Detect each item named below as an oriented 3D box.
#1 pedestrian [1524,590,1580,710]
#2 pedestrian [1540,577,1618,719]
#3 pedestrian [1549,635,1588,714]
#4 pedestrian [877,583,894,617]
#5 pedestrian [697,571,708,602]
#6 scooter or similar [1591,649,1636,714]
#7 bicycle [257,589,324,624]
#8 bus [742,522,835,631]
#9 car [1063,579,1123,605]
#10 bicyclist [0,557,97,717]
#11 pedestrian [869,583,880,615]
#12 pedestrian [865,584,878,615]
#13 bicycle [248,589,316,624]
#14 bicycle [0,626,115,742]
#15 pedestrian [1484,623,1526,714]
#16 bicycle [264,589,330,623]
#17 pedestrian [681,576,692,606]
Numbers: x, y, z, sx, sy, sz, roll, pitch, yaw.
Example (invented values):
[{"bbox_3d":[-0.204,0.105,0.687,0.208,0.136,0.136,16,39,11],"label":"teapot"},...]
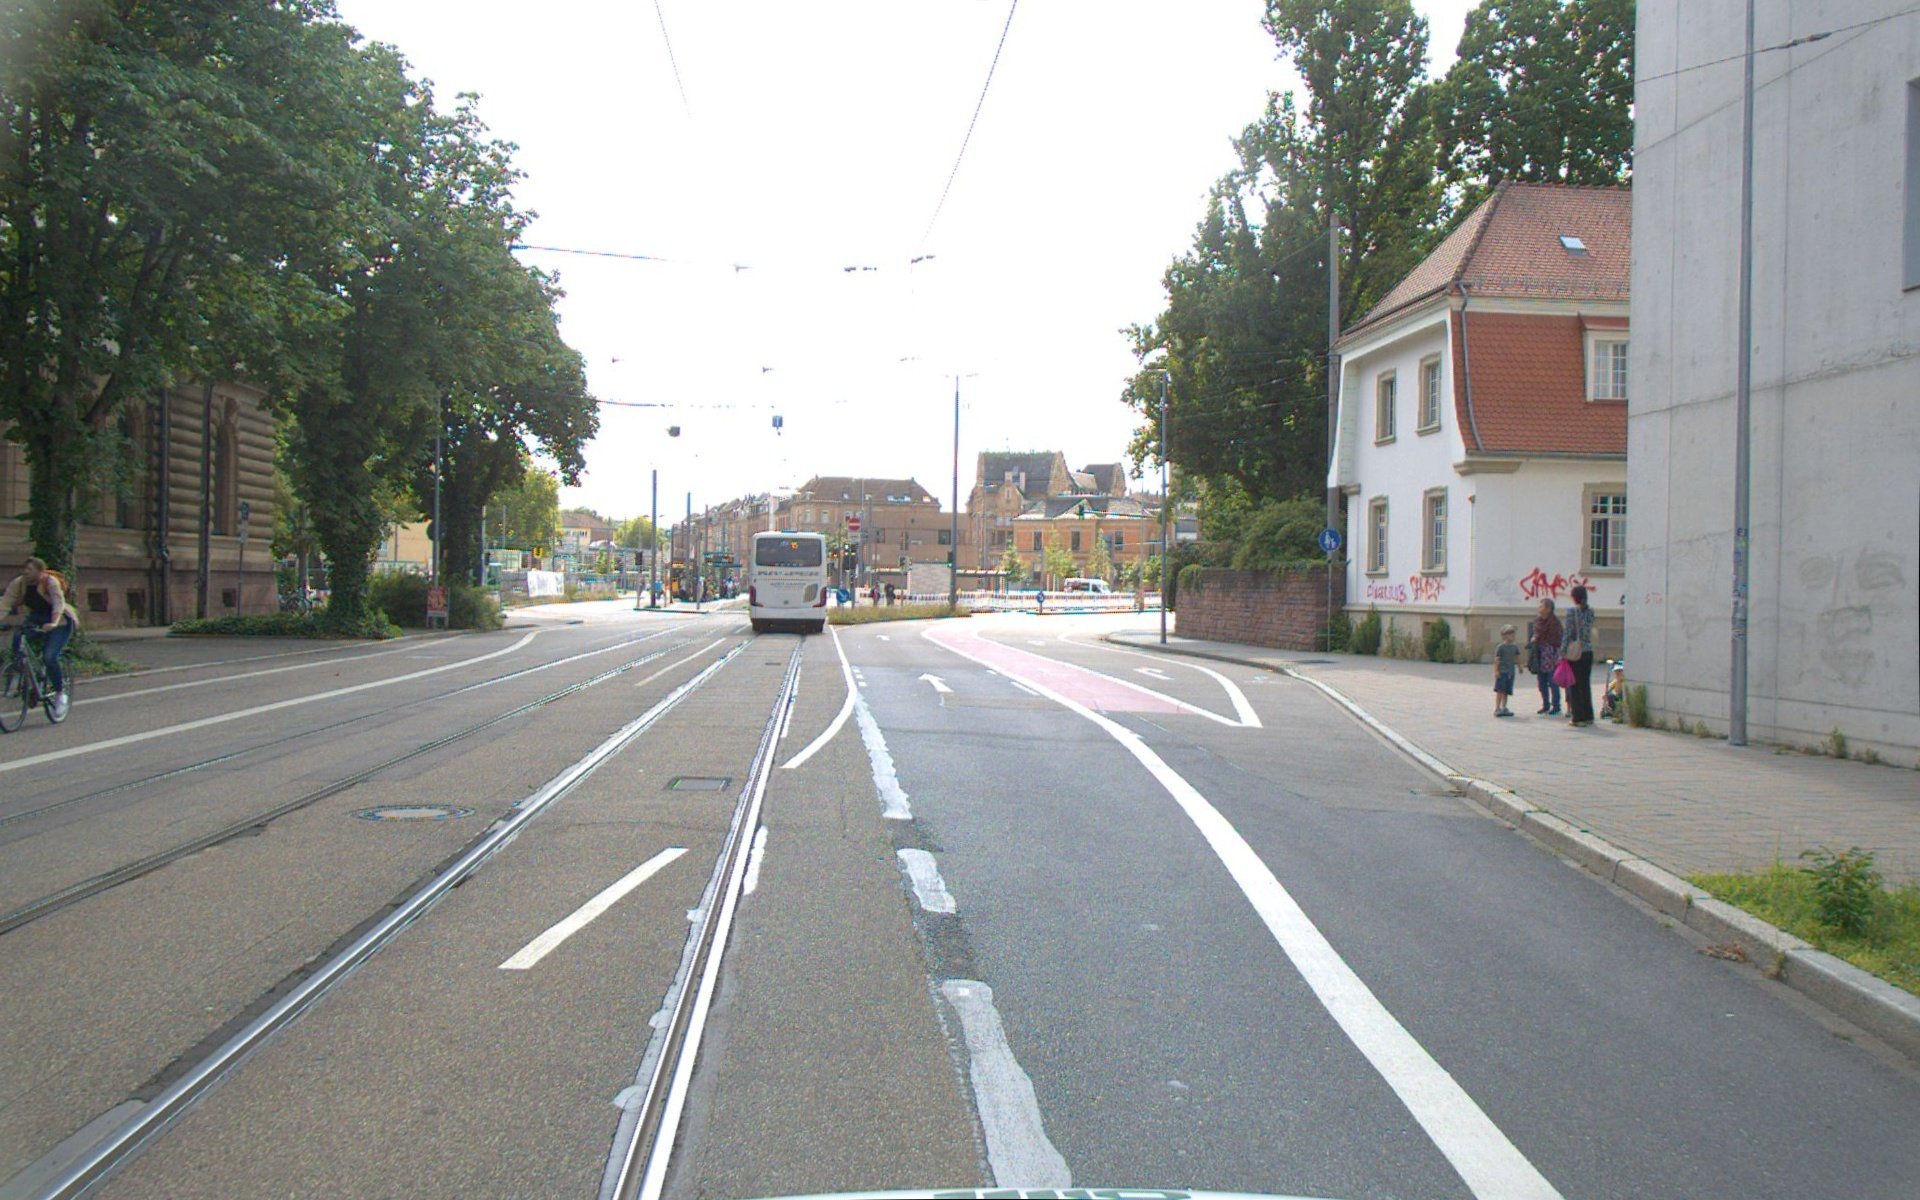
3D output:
[{"bbox_3d":[8.188,0.680,22.873,0.511,1.607,0.546,-1,2,-15],"label":"pedestrian"},{"bbox_3d":[7.883,0.599,21.093,0.671,1.754,0.746,-1,2,-6],"label":"pedestrian"},{"bbox_3d":[8.171,0.998,22.214,0.336,1.028,0.395,-1,2,-14],"label":"pedestrian"},{"bbox_3d":[-4.190,0.003,93.075,0.787,1.918,0.603,1,0,-43],"label":"pedestrian"},{"bbox_3d":[-16.109,-0.850,103.391,0.599,1.918,0.793,1,0,-5],"label":"pedestrian"},{"bbox_3d":[8.709,1.080,22.048,0.542,0.814,0.265,-3,3,-29],"label":"scooter or similar"},{"bbox_3d":[-24.134,0.225,59.662,2.074,1.188,0.729,2,0,-7],"label":"bicycle"},{"bbox_3d":[-6.098,-0.759,59.140,2.861,3.386,12.191,2,0,-6],"label":"bus"},{"bbox_3d":[12.402,-0.734,154.559,2.281,2.359,5.505,1,0,-41],"label":"car"},{"bbox_3d":[-9.126,0.348,16.477,0.678,1.546,0.866,0,1,-8],"label":"bicyclist"},{"bbox_3d":[-4.763,-0.035,92.424,0.400,1.766,0.621,1,0,21],"label":"pedestrian"},{"bbox_3d":[-4.905,-0.035,91.546,0.598,1.736,0.623,1,0,2],"label":"pedestrian"},{"bbox_3d":[-23.956,0.230,58.477,2.074,1.188,0.729,2,0,-7],"label":"bicycle"},{"bbox_3d":[-9.130,0.809,16.505,0.686,1.035,1.816,0,1,-8],"label":"bicycle"},{"bbox_3d":[7.563,0.939,22.960,0.418,1.221,0.401,-2,2,-36],"label":"pedestrian"},{"bbox_3d":[-24.273,0.222,60.547,2.074,1.188,0.729,2,0,-7],"label":"bicycle"},{"bbox_3d":[-17.864,-0.587,107.980,0.599,1.918,0.793,1,0,-5],"label":"pedestrian"}]
